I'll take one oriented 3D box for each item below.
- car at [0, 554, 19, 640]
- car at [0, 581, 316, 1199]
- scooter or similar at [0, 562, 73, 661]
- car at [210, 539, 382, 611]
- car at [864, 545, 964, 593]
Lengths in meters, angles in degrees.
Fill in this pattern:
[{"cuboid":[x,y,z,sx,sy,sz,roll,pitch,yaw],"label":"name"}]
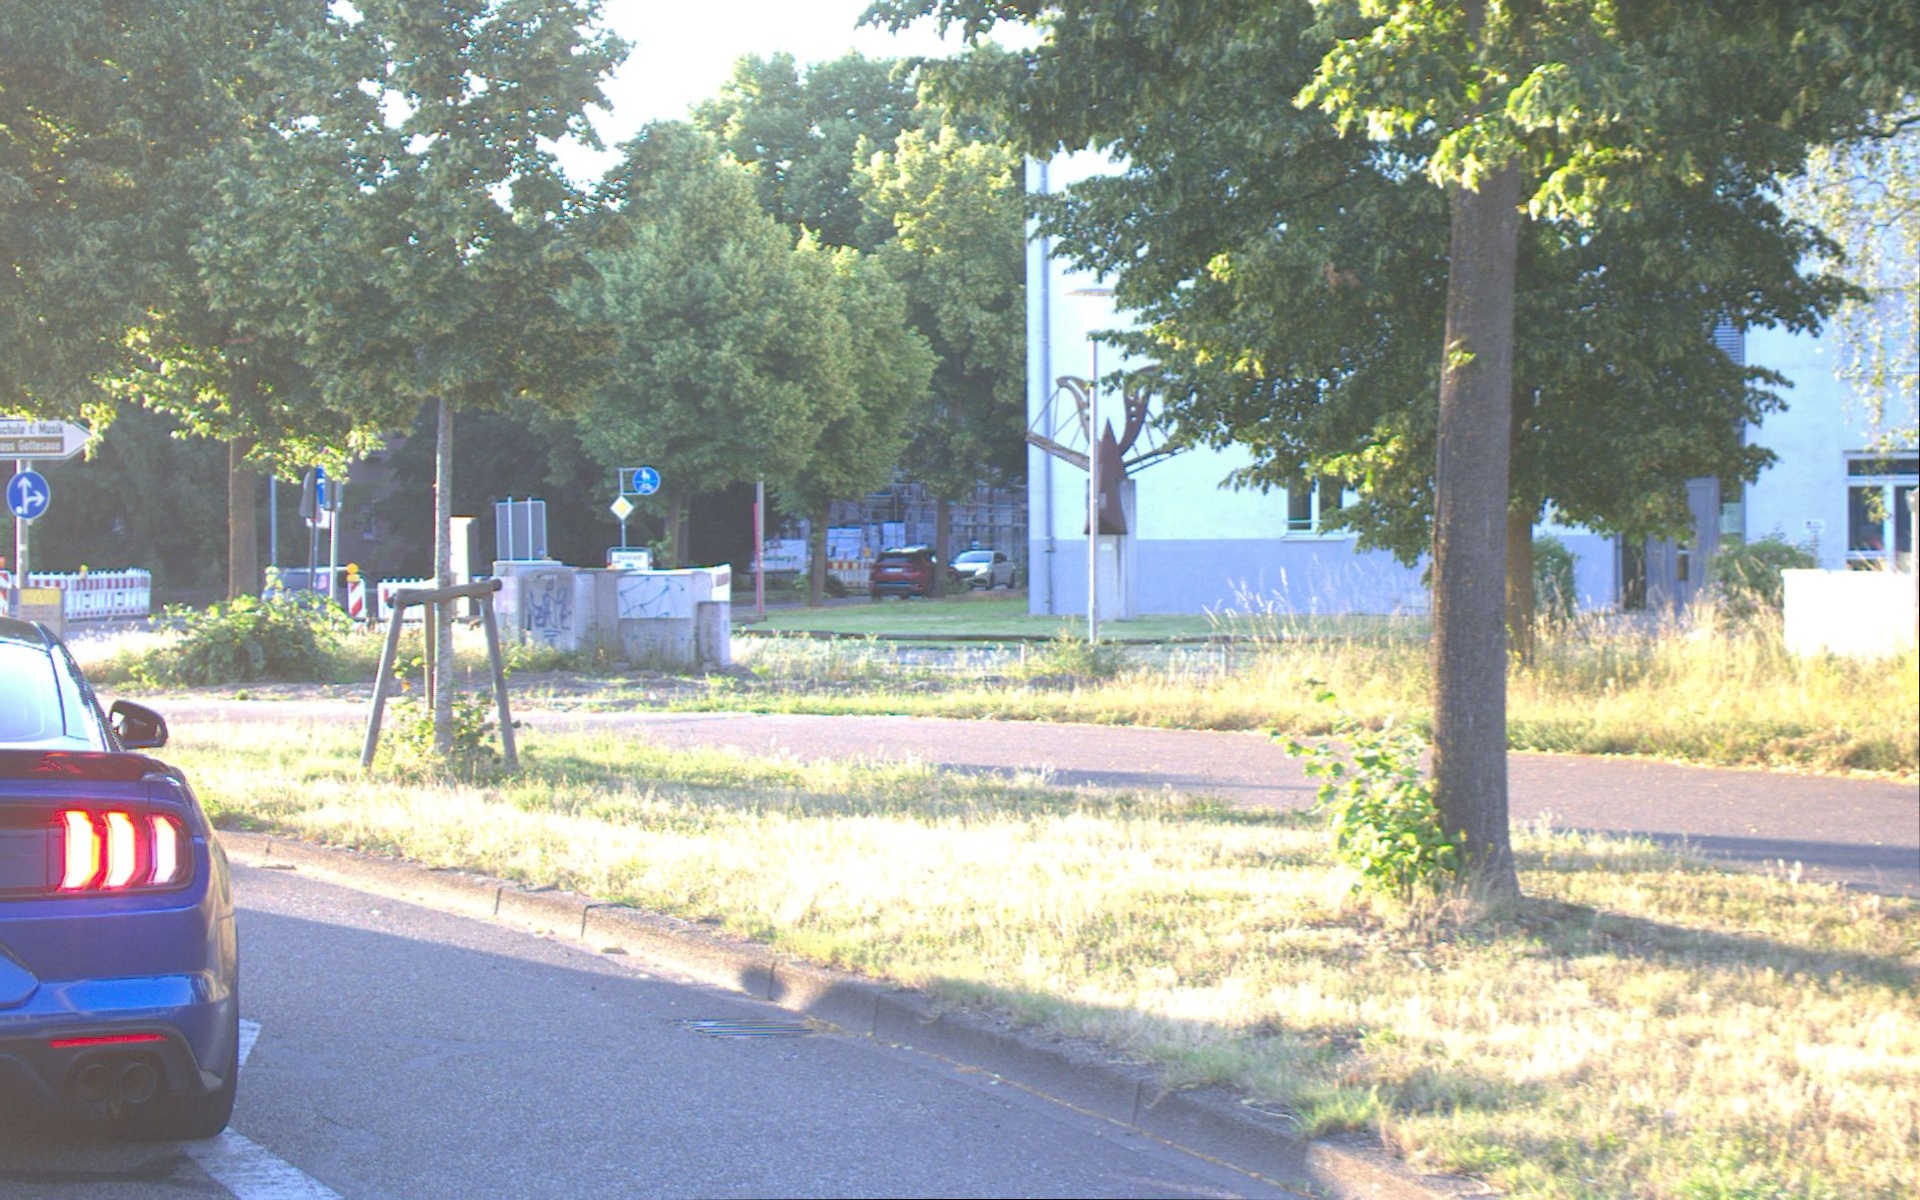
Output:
[{"cuboid":[-17.022,-0.013,55.272,1.877,1.396,3.913,0,1,16],"label":"car"},{"cuboid":[-3.216,0.615,9.534,1.950,1.337,4.672,2,0,-21],"label":"car"},{"cuboid":[-11.884,0.138,43.633,1.120,1.234,0.442,-1,1,-34],"label":"scooter or similar"},{"cuboid":[-13.386,-0.530,69.562,1.877,1.396,3.914,0,1,15],"label":"car"},{"cuboid":[-1.388,-0.959,105.458,1.877,1.396,3.913,0,1,19],"label":"car"}]
